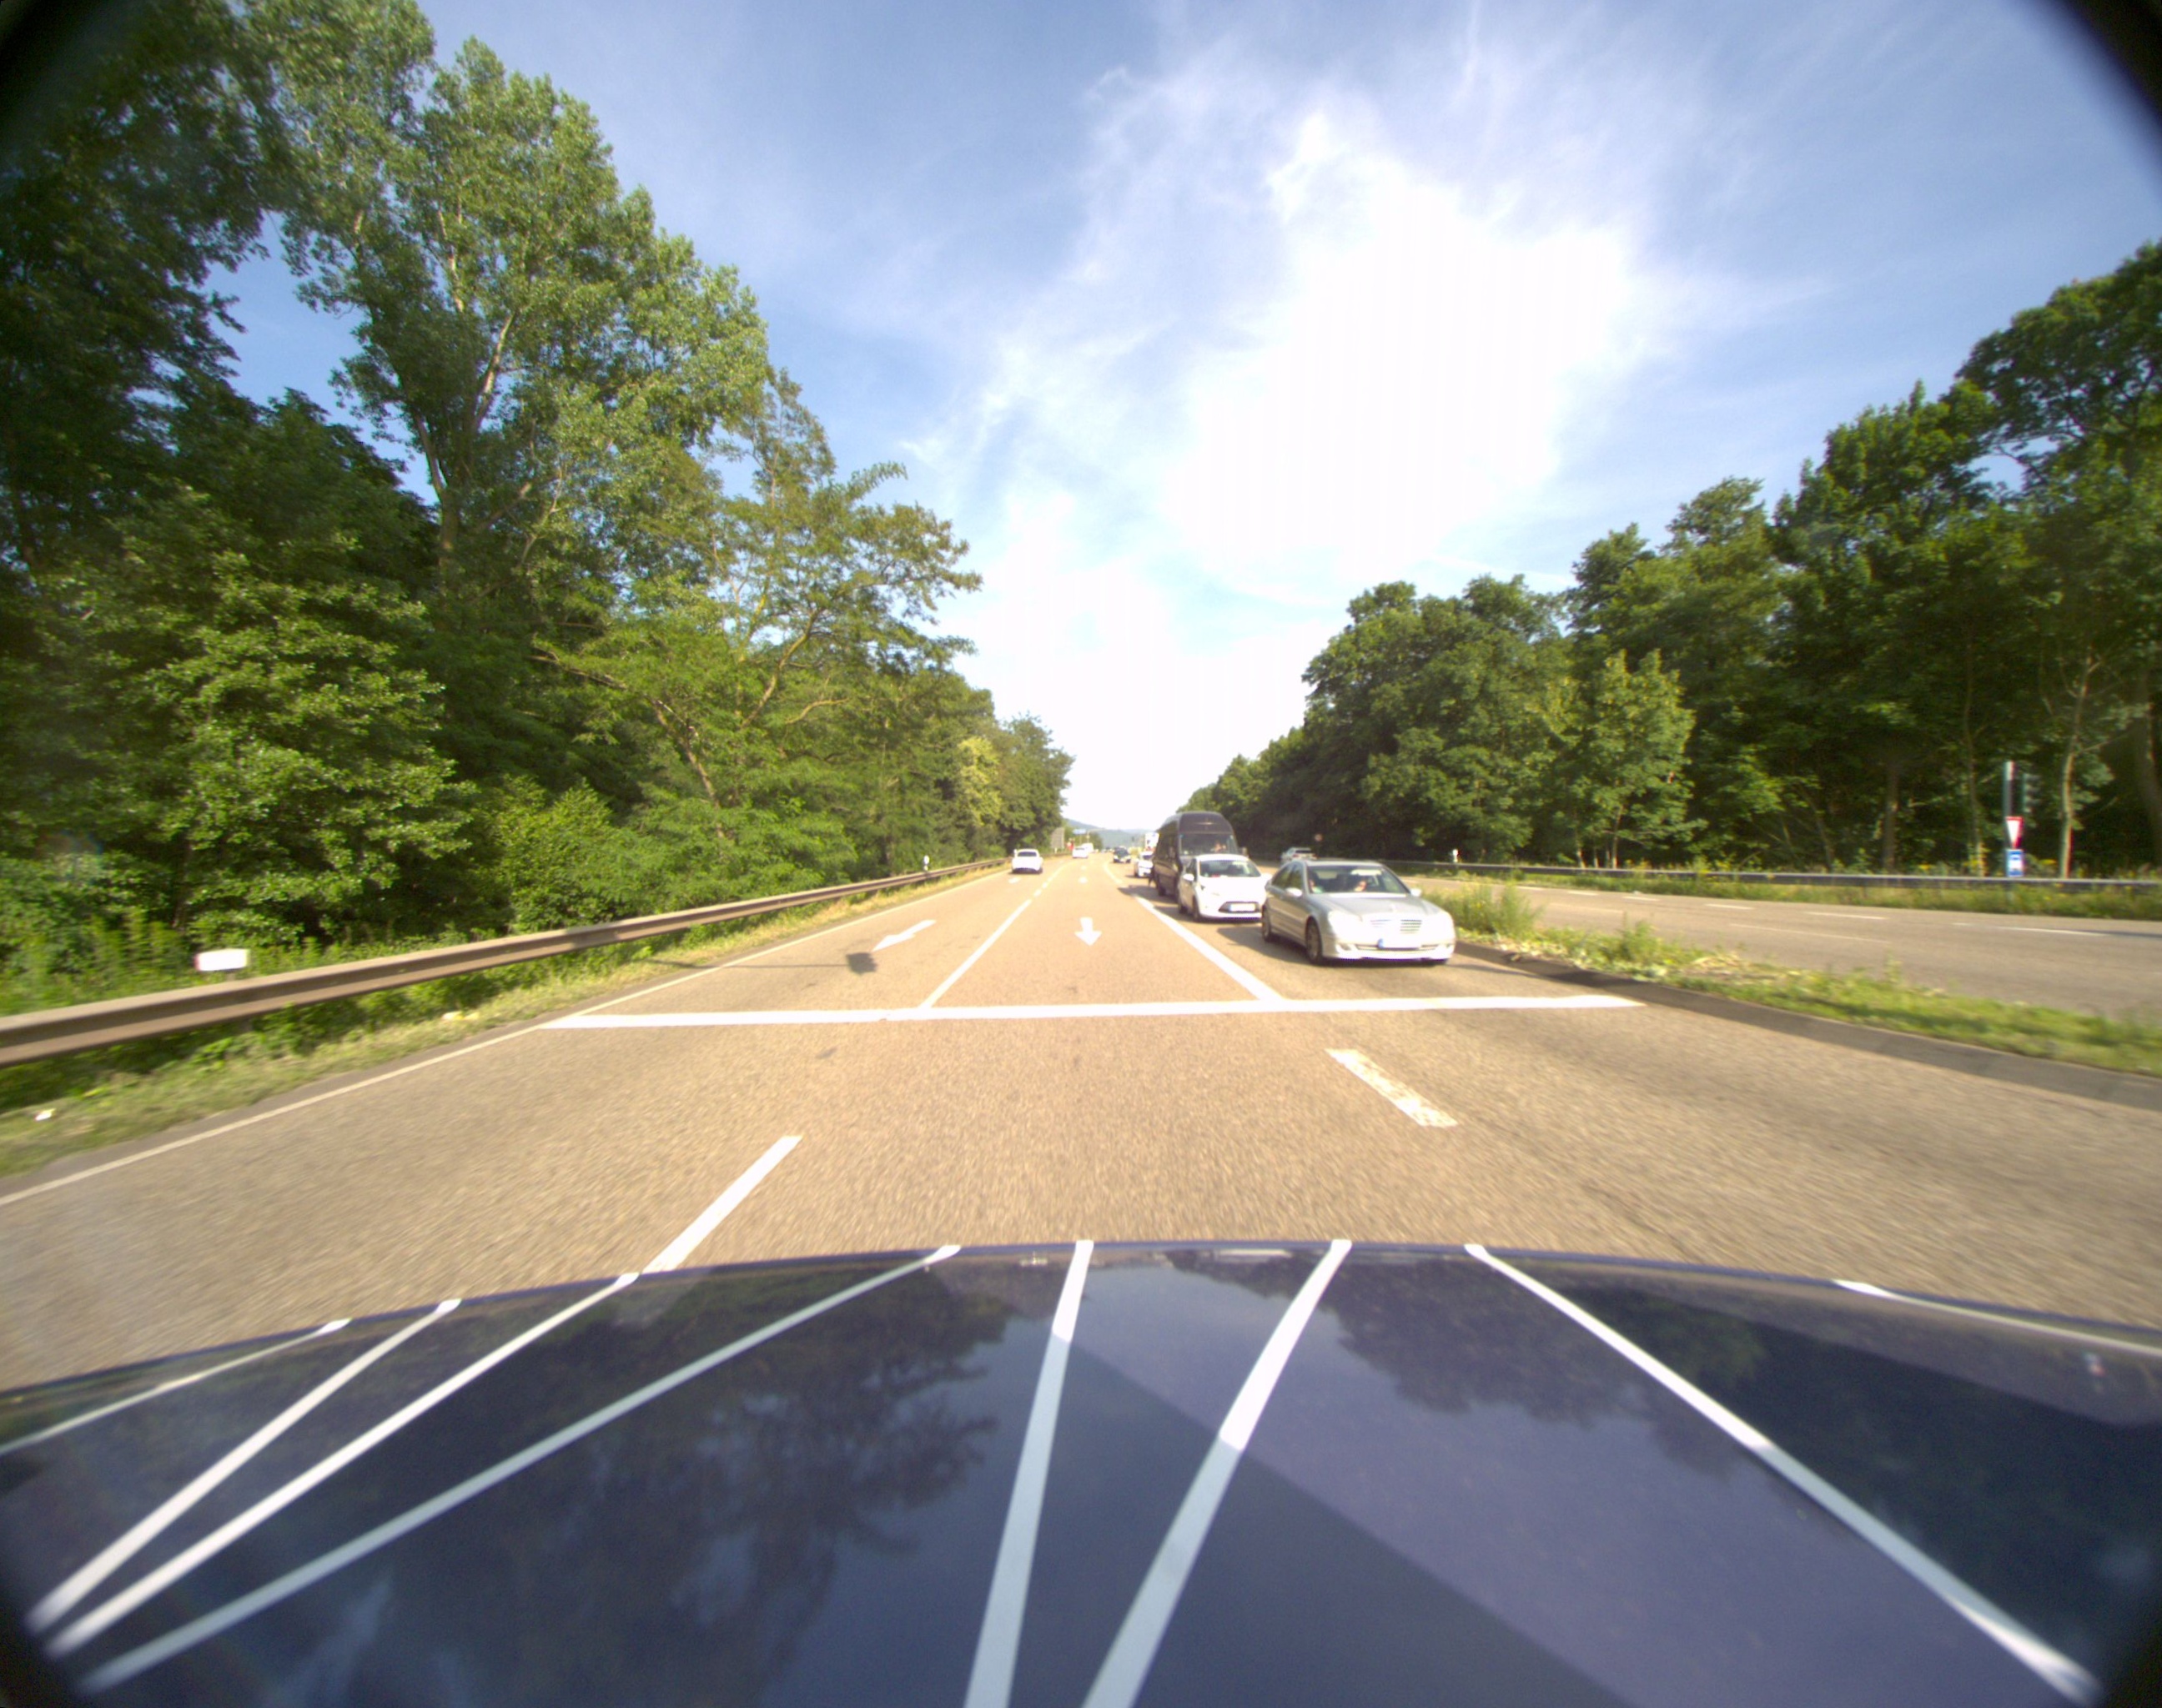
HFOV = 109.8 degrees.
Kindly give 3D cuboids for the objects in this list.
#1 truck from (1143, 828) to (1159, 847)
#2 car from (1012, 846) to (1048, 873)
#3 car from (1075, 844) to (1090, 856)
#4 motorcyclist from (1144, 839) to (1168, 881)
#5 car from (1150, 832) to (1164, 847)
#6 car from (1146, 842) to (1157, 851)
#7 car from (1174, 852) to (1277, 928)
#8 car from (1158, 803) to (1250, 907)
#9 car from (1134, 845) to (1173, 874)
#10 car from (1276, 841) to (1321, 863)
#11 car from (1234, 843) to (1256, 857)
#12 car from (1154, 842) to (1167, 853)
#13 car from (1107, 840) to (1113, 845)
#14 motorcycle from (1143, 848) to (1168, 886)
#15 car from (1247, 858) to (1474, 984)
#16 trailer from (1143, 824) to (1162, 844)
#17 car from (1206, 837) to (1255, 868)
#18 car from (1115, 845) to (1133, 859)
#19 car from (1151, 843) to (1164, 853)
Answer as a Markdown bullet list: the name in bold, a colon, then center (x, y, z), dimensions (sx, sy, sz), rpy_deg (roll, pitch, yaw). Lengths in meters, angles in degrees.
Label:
- **truck**: center (14.920, -3.567, 163.136), dimensions (2.898, 3.974, 6.721), rpy_deg (-2, 1, 2)
- **car**: center (-3.253, 0.325, 49.547), dimensions (1.874, 1.625, 4.834), rpy_deg (0, 1, 2)
- **car**: center (0.220, -0.618, 110.298), dimensions (1.998, 1.632, 3.999), rpy_deg (-2, 1, 1)
- **motorcyclist**: center (3.029, 0.233, 30.714), dimensions (0.885, 1.607, 1.290), rpy_deg (-2, 1, 5)
- **car**: center (13.087, -2.536, 130.845), dimensions (2.079, 2.519, 6.164), rpy_deg (0, 1, 3)
- **car**: center (13.517, -1.479, 145.854), dimensions (1.704, 1.622, 4.370), rpy_deg (0, 1, 2)
- **car**: center (3.170, 0.725, 17.402), dimensions (1.649, 1.481, 4.103), rpy_deg (0, 1, 1)
- **car**: center (3.766, -0.025, 24.604), dimensions (2.215, 2.872, 7.011), rpy_deg (0, 1, 3)
- **car**: center (4.035, 0.248, 43.186), dimensions (1.874, 1.513, 4.834), rpy_deg (-1, 1, 2)
- **car**: center (15.826, -0.170, 55.450), dimensions (1.889, 1.494, 4.263), rpy_deg (1, 1, -2)
- **car**: center (18.408, -0.431, 85.553), dimensions (1.720, 1.494, 3.976), rpy_deg (1, 1, 2)
- **car**: center (12.081, -0.998, 115.569), dimensions (1.775, 1.659, 4.801), rpy_deg (0, 1, 3)
- **car**: center (7.709, -3.090, 204.120), dimensions (1.498, 1.346, 3.554), rpy_deg (-2, 1, 0)
- **motorcycle**: center (3.037, 0.508, 30.946), dimensions (0.910, 1.445, 2.689), rpy_deg (2, 1, 5)
- **car**: center (3.853, 0.808, 11.476), dimensions (1.739, 1.413, 4.801), rpy_deg (0, 1, 1)
- **trailer**: center (14.641, -4.010, 156.350), dimensions (2.998, 3.973, 14.014), rpy_deg (-2, 1, 2)
- **car**: center (9.207, -0.119, 47.205), dimensions (2.081, 1.753, 4.756), rpy_deg (1, 1, 0)
- **car**: center (4.681, -0.217, 82.525), dimensions (1.861, 1.452, 4.569), rpy_deg (-2, 1, 3)
- **car**: center (12.293, -0.975, 122.371), dimensions (1.764, 1.448, 5.186), rpy_deg (0, 1, 3)
